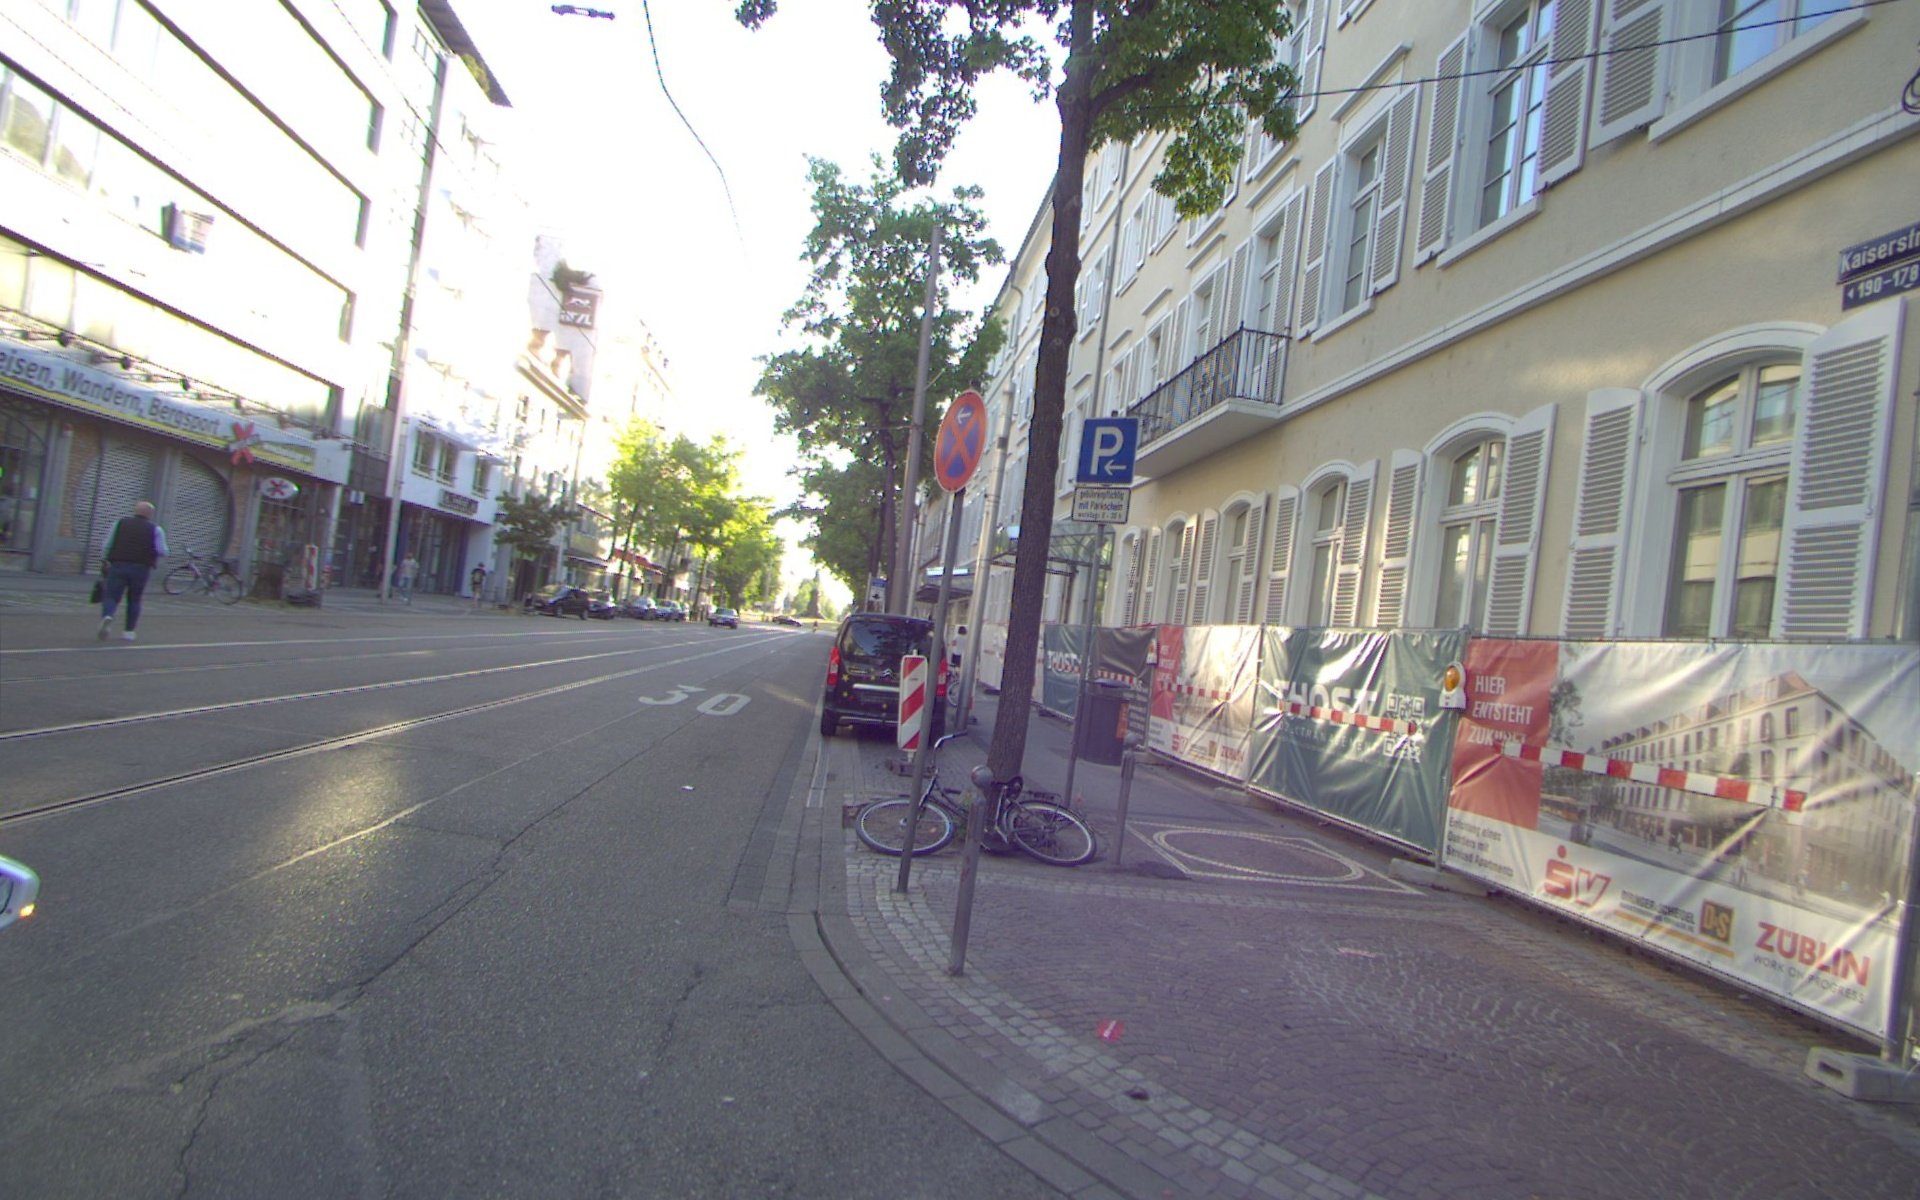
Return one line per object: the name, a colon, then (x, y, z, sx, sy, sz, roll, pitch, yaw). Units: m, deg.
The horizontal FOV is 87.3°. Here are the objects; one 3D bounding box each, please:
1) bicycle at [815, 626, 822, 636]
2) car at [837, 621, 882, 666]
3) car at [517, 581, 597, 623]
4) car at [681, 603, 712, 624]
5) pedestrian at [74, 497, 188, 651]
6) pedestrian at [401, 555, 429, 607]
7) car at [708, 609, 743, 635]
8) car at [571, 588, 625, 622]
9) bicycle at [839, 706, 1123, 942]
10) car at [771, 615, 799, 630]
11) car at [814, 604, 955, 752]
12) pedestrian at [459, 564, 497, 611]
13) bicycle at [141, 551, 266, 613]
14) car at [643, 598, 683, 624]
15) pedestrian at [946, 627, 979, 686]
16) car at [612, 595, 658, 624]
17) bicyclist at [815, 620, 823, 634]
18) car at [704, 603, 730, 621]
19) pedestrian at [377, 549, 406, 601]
bicycle: (-15.864, 3.453, 112.913, 0.706, 1.040, 2.238, 4, -1, -6)
car: (-4.739, 2.003, 47.213, 1.799, 1.770, 3.787, 8, -2, -6)
car: (-18.756, 0.135, 46.967, 1.696, 1.401, 3.667, 9, -3, 8)
car: (-22.944, 1.187, 87.616, 1.801, 1.480, 3.729, 10, -3, -5)
pedestrian: (-10.548, -0.335, 12.797, 1.058, 1.797, 0.802, 7, 0, 42)
pedestrian: (-19.690, -0.687, 36.370, 0.620, 1.797, 0.811, 8, 0, -24)
car: (-16.869, 1.593, 72.530, 1.873, 1.578, 3.874, 7, -2, -6)
car: (-19.644, 0.318, 54.739, 1.802, 1.480, 3.726, 10, -3, -8)
bicycle: (0.204, 1.534, 7.219, 1.669, 0.446, 1.379, 7, 42, 19)
car: (-26.507, 3.336, 152.144, 3.938, 1.703, 1.909, 8, -2, -14)
car: (-1.076, 1.129, 15.280, 1.726, 1.815, 3.655, 5, -3, -2)
pedestrian: (-19.751, -0.494, 41.230, 0.790, 1.797, 0.973, 8, 0, 6)
bicycle: (-16.508, -0.384, 21.995, 1.994, 0.963, 0.669, 11, -1, -9)
car: (-20.984, 0.800, 71.109, 1.801, 1.480, 3.729, 10, -3, -5)
pedestrian: (0.083, 1.824, 32.512, 0.791, 1.799, 0.971, 4, 0, -9)
car: (-20.703, 0.641, 64.278, 1.801, 1.480, 3.729, 10, -3, -5)
bicyclist: (-15.838, 3.041, 112.867, 0.695, 1.491, 0.932, 4, 0, -6)
car: (-24.495, 1.225, 101.624, 1.801, 1.480, 3.729, 10, -3, -5)
pedestrian: (-20.418, -0.899, 36.145, 0.620, 1.797, 0.811, 8, 0, -24)
